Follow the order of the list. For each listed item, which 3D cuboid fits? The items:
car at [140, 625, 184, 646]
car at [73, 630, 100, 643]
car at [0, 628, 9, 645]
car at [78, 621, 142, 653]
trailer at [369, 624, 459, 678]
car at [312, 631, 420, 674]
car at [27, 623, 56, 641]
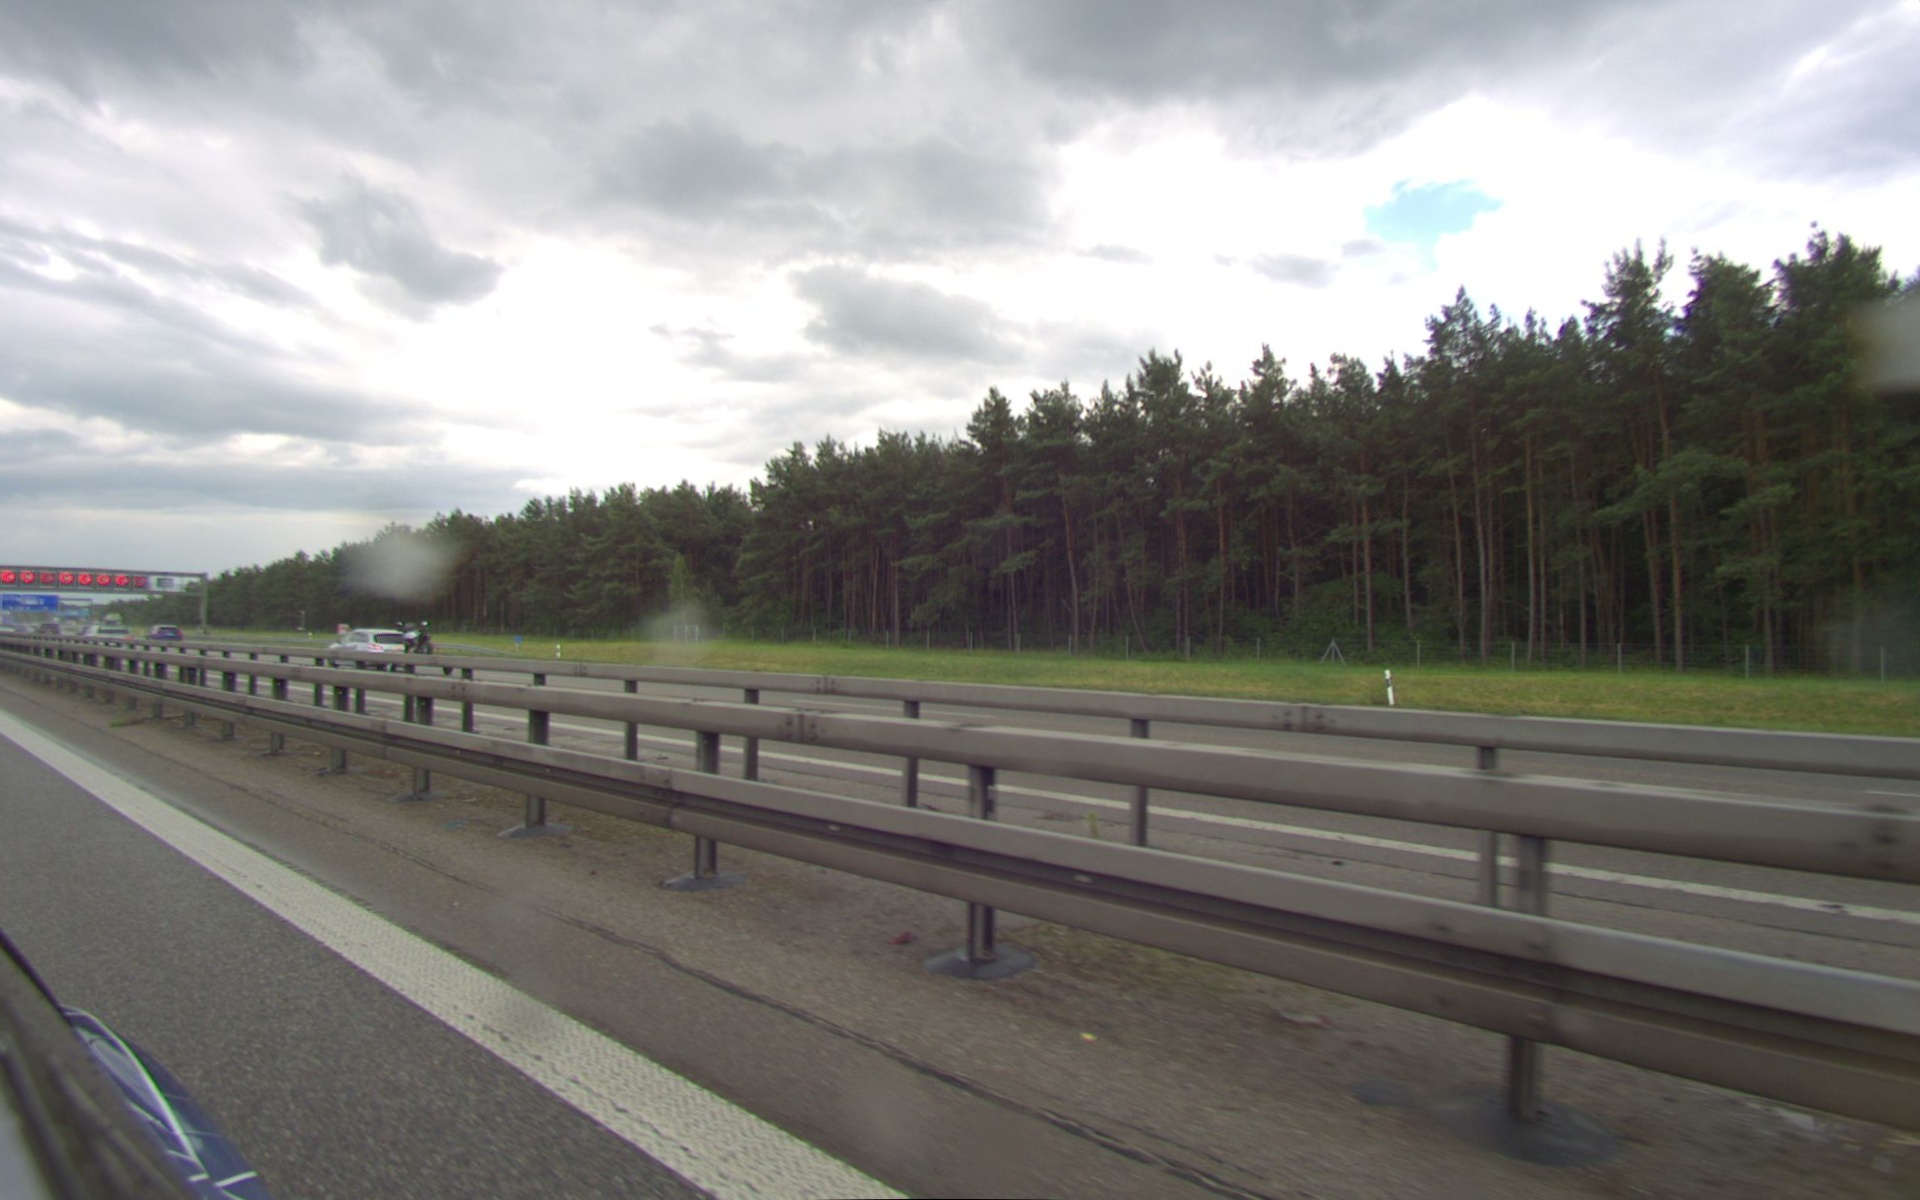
[{"bbox_3d":[-62.621,2.801,79.381,4.511,1.559,1.880,-1,-4,42],"label":"car"},{"bbox_3d":[-96.743,4.039,112.044,4.182,1.406,1.705,-1,-4,42],"label":"car"},{"bbox_3d":[-80.053,3.004,83.691,3.999,1.386,1.675,-1,-2,42],"label":"car"},{"bbox_3d":[-42.717,1.850,50.810,4.400,1.559,1.766,-1,-3,41],"label":"car"},{"bbox_3d":[-17.954,1.649,33.245,3.205,1.685,1.466,-1,-4,40],"label":"trailer"},{"bbox_3d":[-20.997,1.839,35.707,4.569,1.431,1.810,-1,-4,40],"label":"car"},{"bbox_3d":[-94.070,3.295,103.686,4.136,1.696,1.705,-1,-5,42],"label":"car"}]
